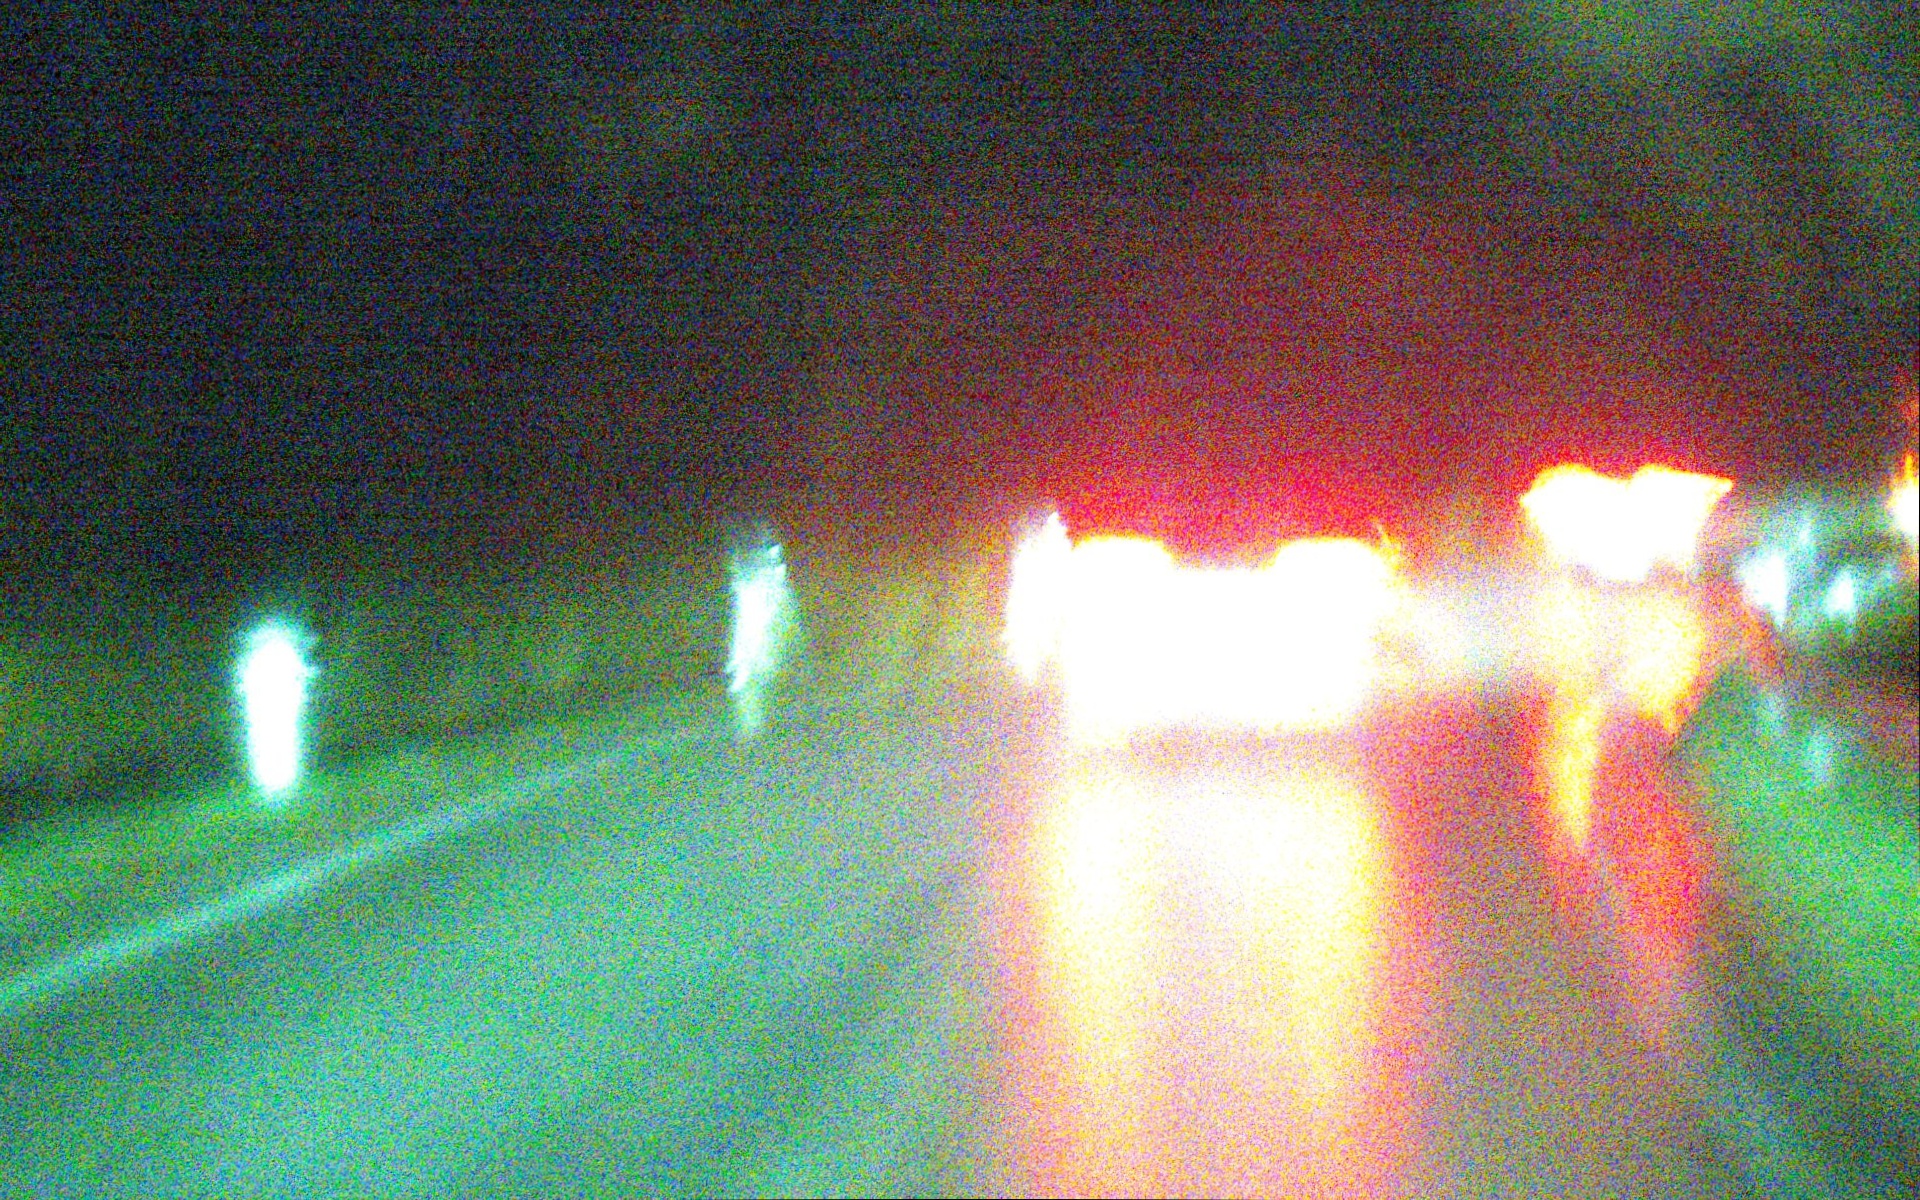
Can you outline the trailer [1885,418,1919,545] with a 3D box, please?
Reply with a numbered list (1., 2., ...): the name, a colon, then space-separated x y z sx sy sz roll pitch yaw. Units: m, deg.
1. trailer: 18.212 -2.012 59.945 2.081 2.007 10.633 -3 -1 25
